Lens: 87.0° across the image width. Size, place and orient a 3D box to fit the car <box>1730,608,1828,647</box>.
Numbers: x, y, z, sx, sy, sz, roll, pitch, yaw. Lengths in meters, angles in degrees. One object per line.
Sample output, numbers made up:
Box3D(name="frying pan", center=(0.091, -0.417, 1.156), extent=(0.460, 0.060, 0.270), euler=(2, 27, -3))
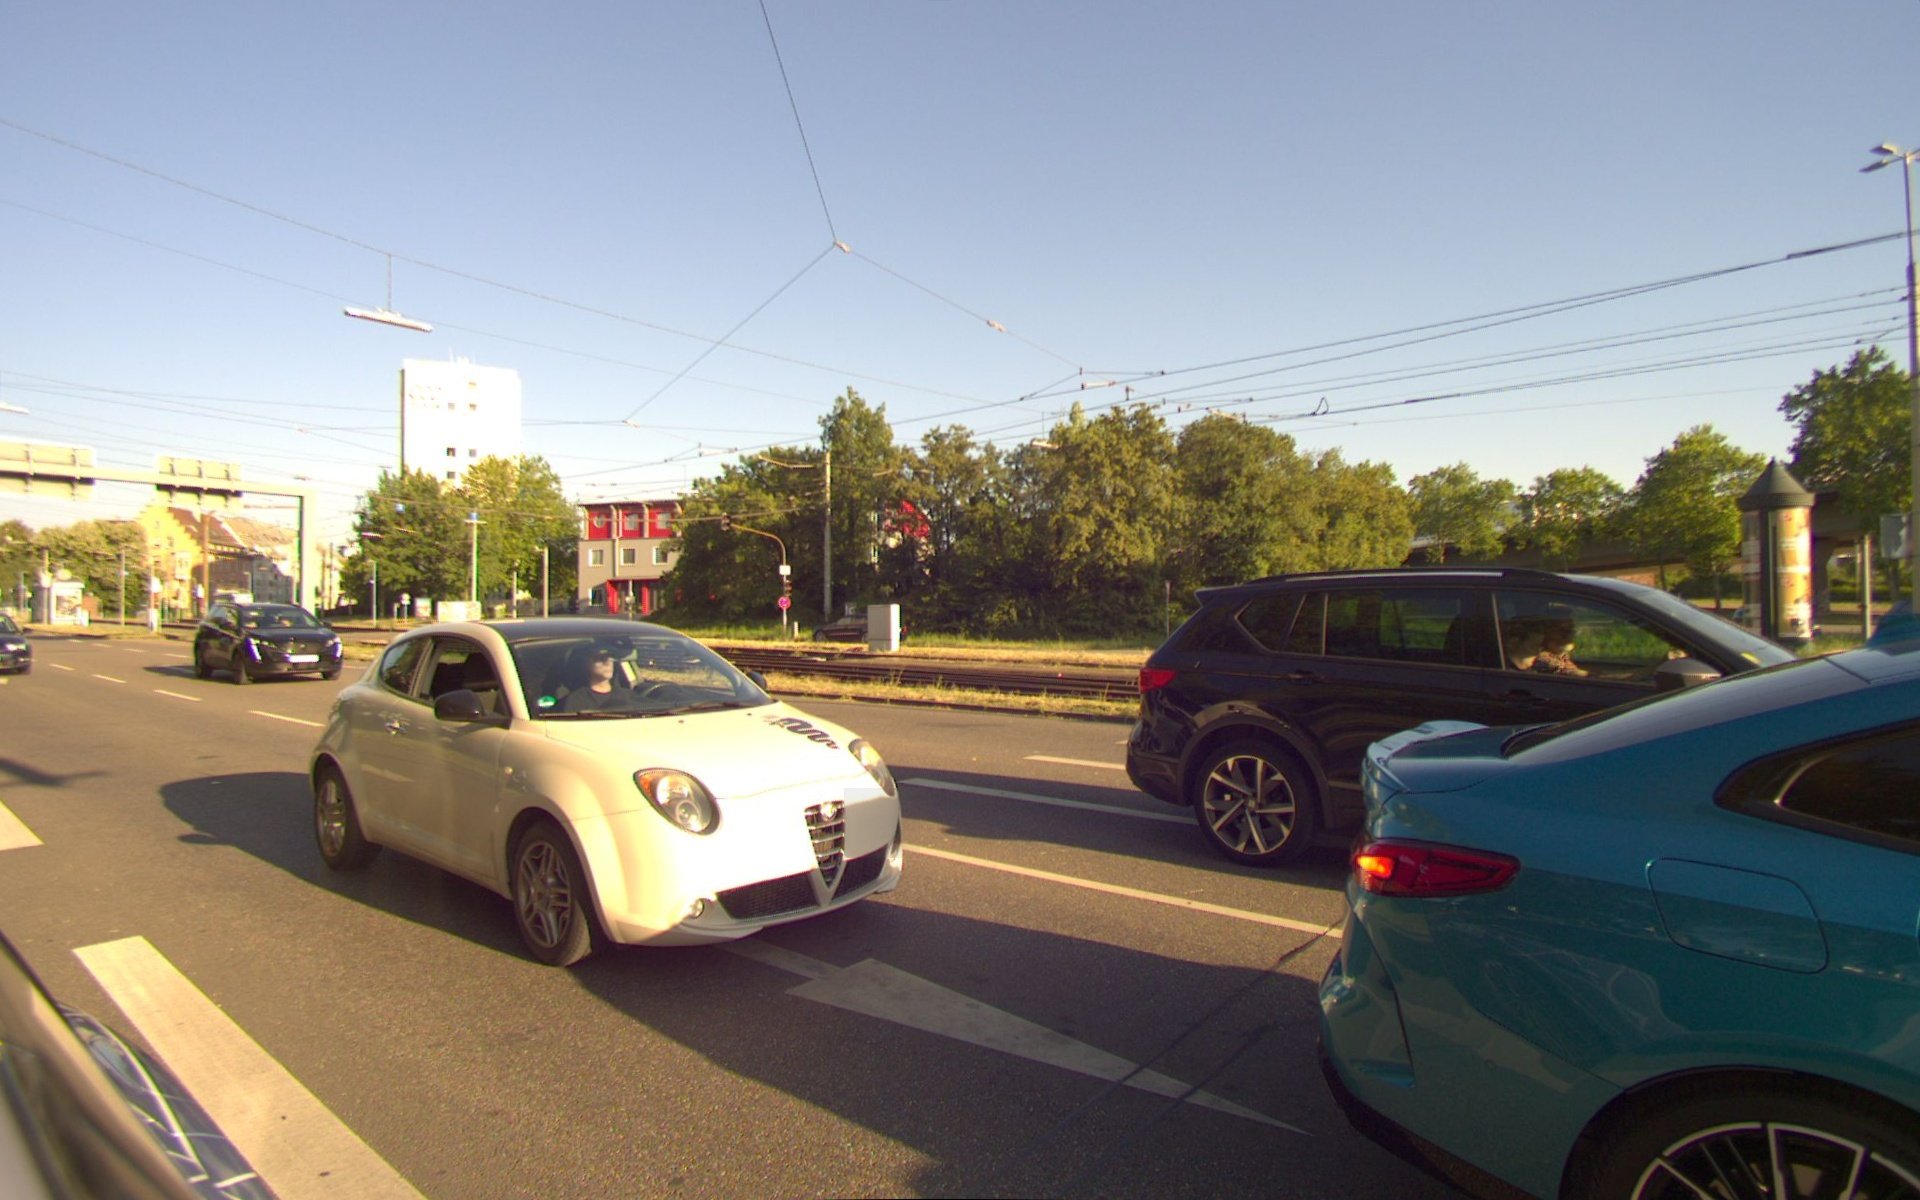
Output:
Box3D(name="car", center=(34.009, 1.108, 42.144), extent=(1.708, 1.537, 3.915), euler=(-1, -1, 15))

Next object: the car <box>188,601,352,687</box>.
Box3D(name="car", center=(-14.826, 0.908, 21.665), extent=(4.274, 1.675, 1.881), euler=(-2, -2, 41))

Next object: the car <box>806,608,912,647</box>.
Box3D(name="car", center=(-4.622, 1.246, 46.044), extent=(4.738, 1.691, 1.736), euler=(-1, -1, 31))

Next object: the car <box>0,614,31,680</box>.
Box3D(name="car", center=(-22.699, 1.047, 23.083), extent=(3.997, 1.448, 1.719), euler=(-1, -1, 40))

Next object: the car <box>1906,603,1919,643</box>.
Box3D(name="car", center=(37.154, 0.859, 37.223), extent=(1.609, 1.537, 4.389), euler=(-1, -1, 17))

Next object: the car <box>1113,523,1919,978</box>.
Box3D(name="car", center=(3.244, 0.595, 5.271), extent=(4.622, 1.692, 1.794), euler=(-2, -2, 42))

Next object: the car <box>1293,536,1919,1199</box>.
Box3D(name="car", center=(2.865, 0.635, 1.475), extent=(4.201, 1.477, 1.697), euler=(-1, -2, 38))

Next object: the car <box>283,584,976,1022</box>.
Box3D(name="car", center=(-1.998, 0.756, 5.477), extent=(3.997, 1.517, 1.719), euler=(-1, -2, 40))
